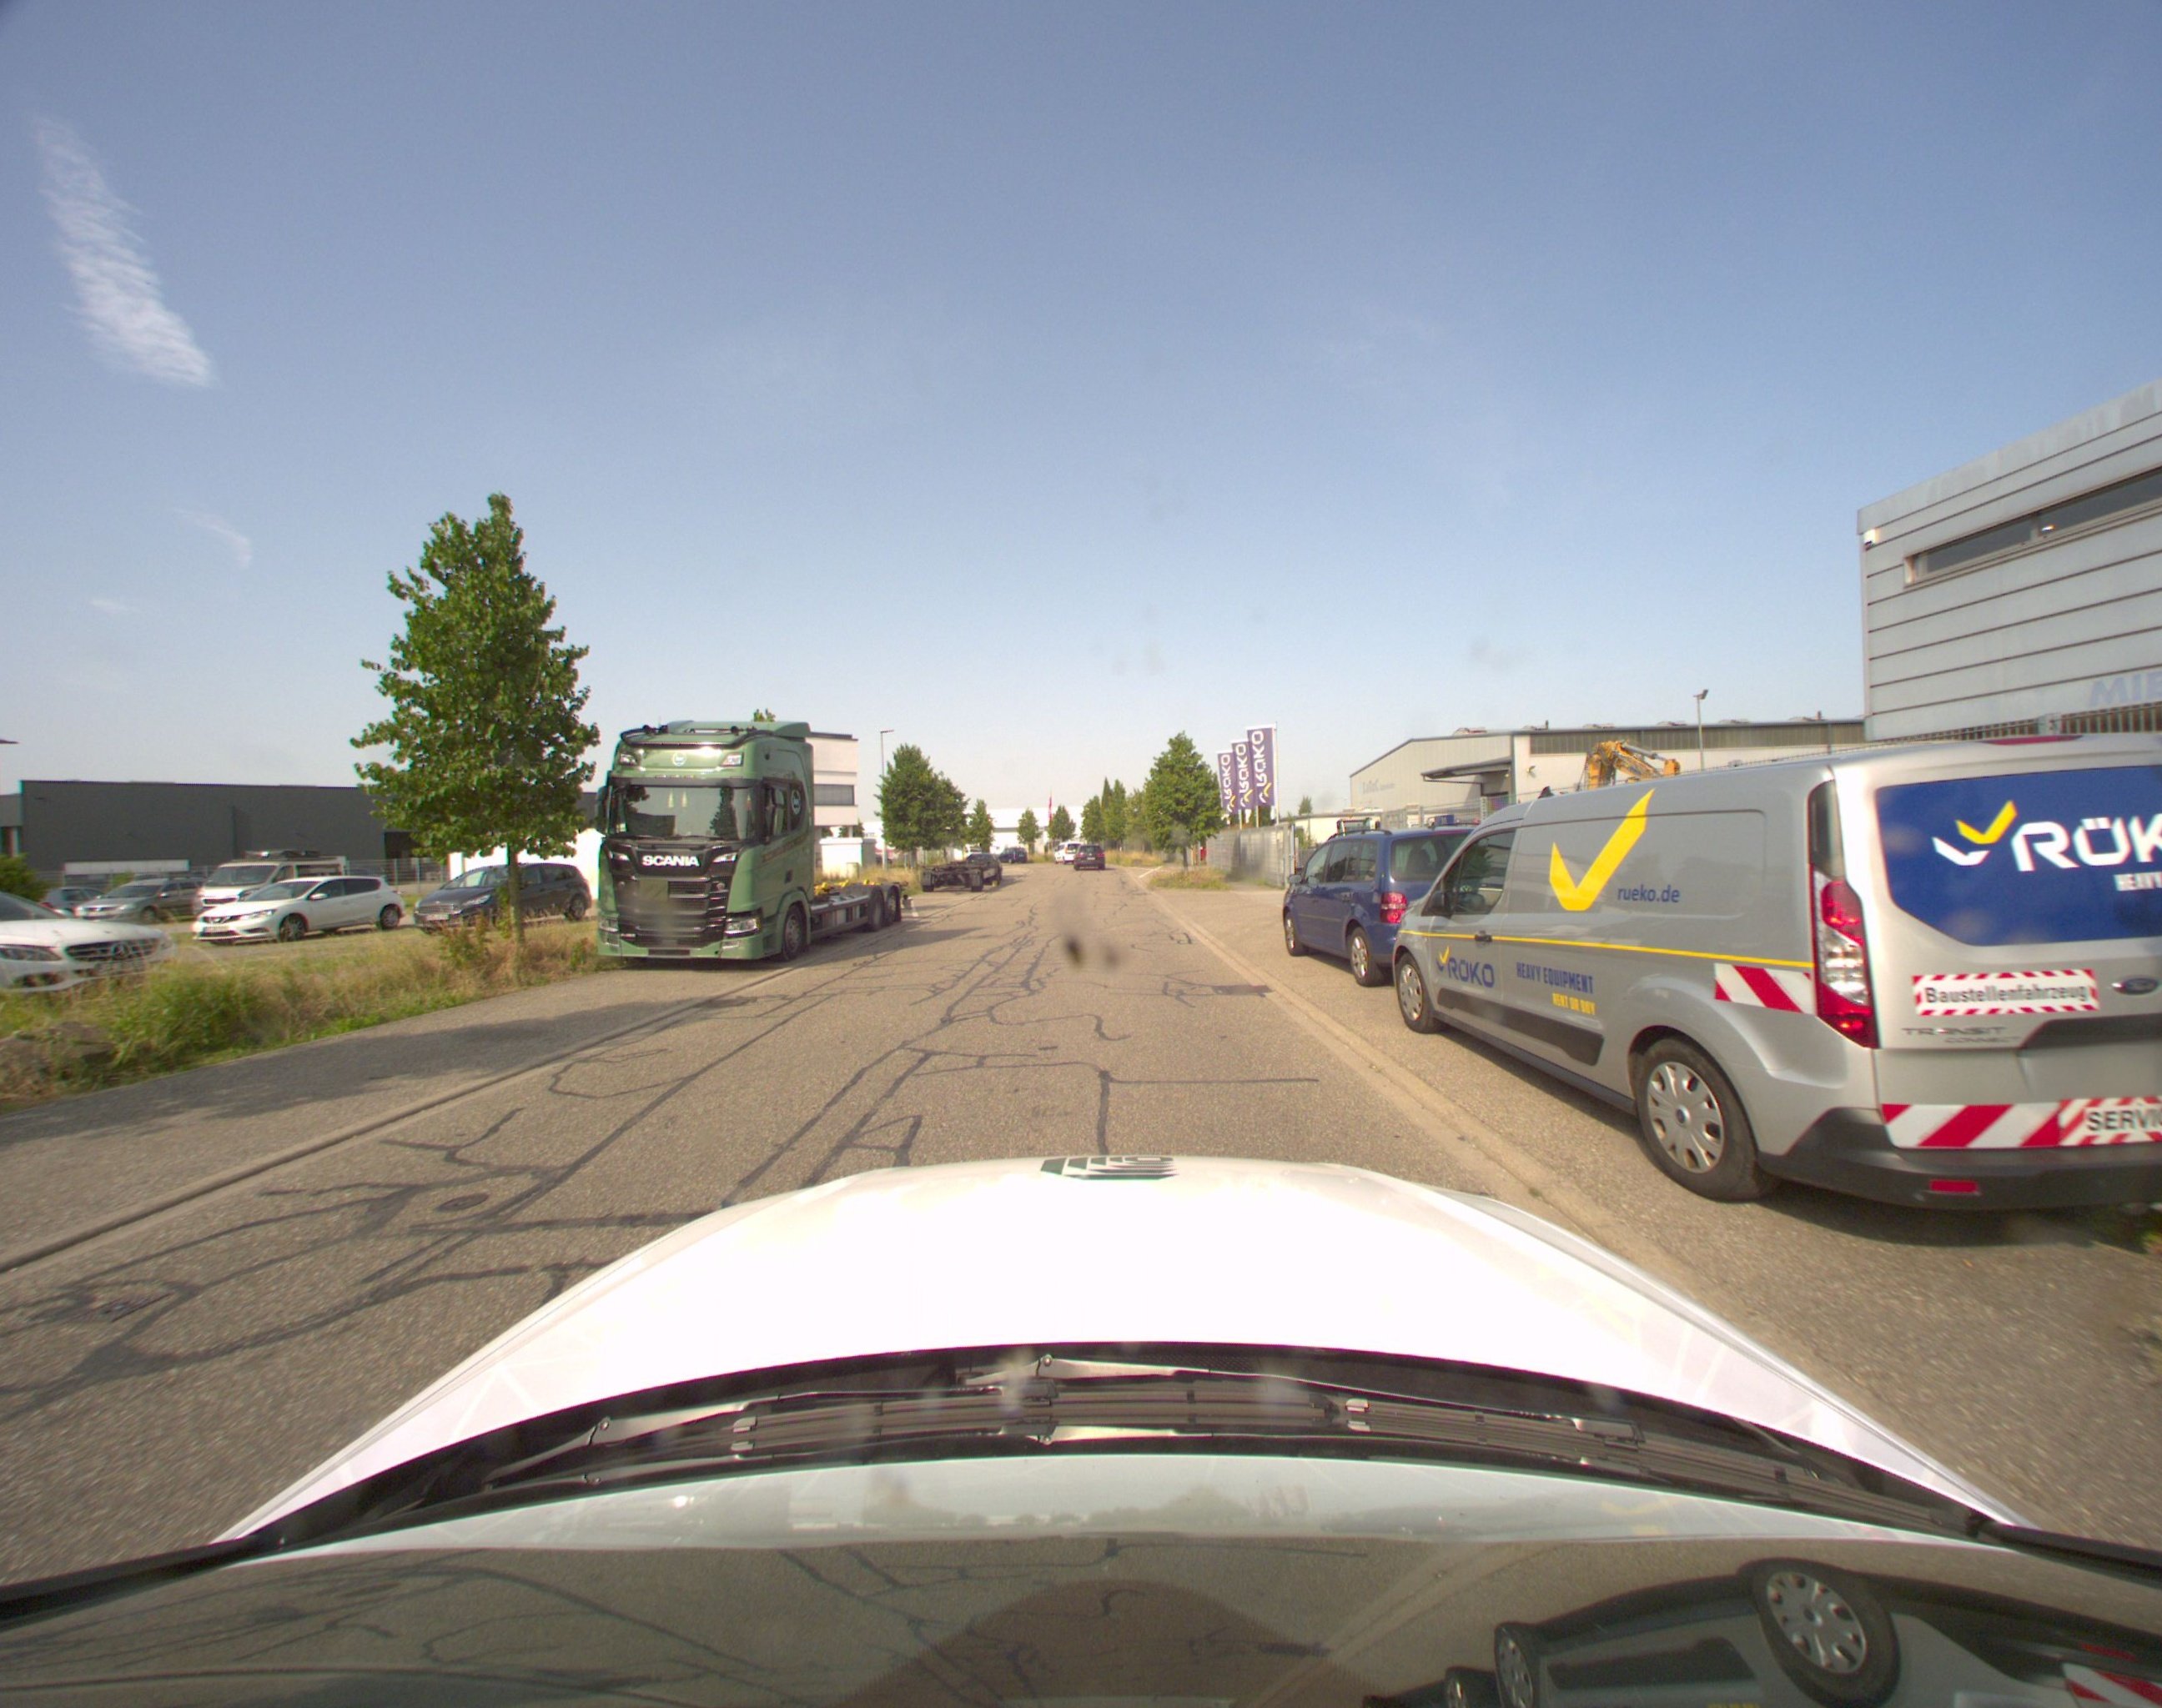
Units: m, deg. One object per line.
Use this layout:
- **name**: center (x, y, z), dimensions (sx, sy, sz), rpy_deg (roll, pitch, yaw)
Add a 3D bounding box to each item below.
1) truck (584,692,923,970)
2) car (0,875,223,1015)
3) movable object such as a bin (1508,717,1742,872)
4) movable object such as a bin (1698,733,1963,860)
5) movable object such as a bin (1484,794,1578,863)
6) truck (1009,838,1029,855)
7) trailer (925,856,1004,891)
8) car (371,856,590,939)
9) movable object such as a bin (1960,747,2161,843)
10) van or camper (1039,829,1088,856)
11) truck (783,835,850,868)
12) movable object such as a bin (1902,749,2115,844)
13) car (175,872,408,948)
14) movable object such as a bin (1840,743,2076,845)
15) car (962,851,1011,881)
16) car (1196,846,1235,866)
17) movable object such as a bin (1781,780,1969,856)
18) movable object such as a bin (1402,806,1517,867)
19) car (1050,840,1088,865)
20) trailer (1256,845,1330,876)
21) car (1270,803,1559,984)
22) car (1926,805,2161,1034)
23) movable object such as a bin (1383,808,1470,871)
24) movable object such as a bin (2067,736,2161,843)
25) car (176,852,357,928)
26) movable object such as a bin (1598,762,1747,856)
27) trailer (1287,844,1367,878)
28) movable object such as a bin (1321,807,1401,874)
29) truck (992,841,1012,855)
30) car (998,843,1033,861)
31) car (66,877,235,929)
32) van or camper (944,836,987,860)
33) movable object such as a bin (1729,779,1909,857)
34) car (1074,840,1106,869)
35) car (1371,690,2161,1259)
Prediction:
- **truck**: center (-5.564, -0.328, 16.336), dimensions (2.445, 3.881, 9.808), rpy_deg (0, 0, 2)
- **car**: center (-13.798, 1.075, 9.910), dimensions (4.706, 1.431, 2.002), rpy_deg (-2, 1, 3)
- **movable object such as a bin**: center (19.303, -1.967, 29.715), dimensions (3.306, 4.806, 7.672), rpy_deg (-2, 1, 0)
- **movable object such as a bin**: center (26.656, -1.898, 29.603), dimensions (2.909, 3.928, 7.206), rpy_deg (-3, 1, 0)
- **movable object such as a bin**: center (21.321, -1.177, 38.824), dimensions (1.985, 3.031, 4.494), rpy_deg (-2, 1, 2)
- **truck**: center (-10.839, -1.397, 142.559), dimensions (2.441, 2.826, 8.006), rpy_deg (-2, 1, 2)
- **trailer**: center (-4.991, 0.789, 36.052), dimensions (2.121, 1.232, 7.162), rpy_deg (0, 1, 2)
- **car**: center (-14.838, 0.981, 20.561), dimensions (1.987, 1.686, 4.698), rpy_deg (-3, 1, 0)
- **movable object such as a bin**: center (45.071, -2.539, 37.445), dimensions (2.445, 3.929, 6.137), rpy_deg (-3, 0, -2)
- **van or camper**: center (-2.078, -1.248, 92.685), dimensions (2.364, 2.847, 7.271), rpy_deg (-2, 0, -30)
- **truck**: center (-33.407, -0.242, 102.344), dimensions (2.650, 3.929, 12.760), rpy_deg (-2, 0, -43)
- **movable object such as a bin**: center (41.744, -2.448, 36.991), dimensions (2.445, 3.780, 6.137), rpy_deg (-3, 0, -2)
- **car**: center (-19.689, 1.317, 20.615), dimensions (1.700, 1.516, 4.213), rpy_deg (-3, 1, 0)
- **movable object such as a bin**: center (38.472, -2.451, 36.194), dimensions (2.460, 3.929, 7.196), rpy_deg (-3, 0, -2)
- **car**: center (-5.046, 0.596, 44.089), dimensions (1.986, 1.466, 4.434), rpy_deg (0, 1, 2)
- **car**: center (9.947, 0.090, 60.442), dimensions (1.876, 1.357, 4.769), rpy_deg (-2, 1, -2)
- **movable object such as a bin**: center (32.137, -1.395, 33.289), dimensions (2.048, 2.768, 5.689), rpy_deg (-3, 1, 0)
- **movable object such as a bin**: center (17.376, -0.781, 37.769), dimensions (2.911, 2.491, 5.341), rpy_deg (-2, 1, 2)
- **car**: center (-1.041, -0.119, 67.804), dimensions (1.998, 1.899, 4.442), rpy_deg (-2, 1, -17)
- **trailer**: center (9.772, 0.252, 37.948), dimensions (2.119, 1.243, 4.795), rpy_deg (-2, 1, 0)
- **car**: center (3.760, 0.392, 10.094), dimensions (1.820, 1.720, 4.248), rpy_deg (-2, 0, 0)
- **car**: center (8.439, 0.372, 5.430), dimensions (3.979, 1.371, 1.788), rpy_deg (0, 1, -4)
- **movable object such as a bin**: center (14.679, -0.620, 34.947), dimensions (1.983, 2.458, 4.770), rpy_deg (-2, 1, 5)
- **movable object such as a bin**: center (41.759, -2.486, 30.265), dimensions (2.711, 3.929, 6.016), rpy_deg (-3, 0, -3)
- **car**: center (-30.793, 1.272, 31.120), dimensions (2.051, 2.547, 5.441), rpy_deg (-2, 0, -10)
- **movable object such as a bin**: center (26.805, -1.938, 37.280), dimensions (2.674, 3.873, 5.721), rpy_deg (-2, 1, 2)
- **trailer**: center (9.950, 0.245, 33.241), dimensions (1.938, 1.243, 4.293), rpy_deg (-2, 1, 0)
- **movable object such as a bin**: center (12.554, -0.610, 36.851), dimensions (1.880, 2.752, 5.162), rpy_deg (-2, 1, 2)
- **truck**: center (-13.813, -1.061, 142.383), dimensions (2.441, 2.265, 8.006), rpy_deg (-2, 1, 2)
- **car**: center (-6.691, -0.245, 82.799), dimensions (2.007, 1.804, 3.961), rpy_deg (-1, 1, -31)
- **car**: center (-33.852, 1.712, 29.832), dimensions (1.841, 1.613, 4.137), rpy_deg (-2, 0, -10)
- **van or camper**: center (-14.933, -0.699, 105.094), dimensions (2.349, 2.943, 6.893), rpy_deg (-2, 1, -37)
- **movable object such as a bin**: center (29.552, -1.383, 32.962), dimensions (2.048, 2.768, 5.689), rpy_deg (-3, 1, 0)
- **car**: center (0.634, 0.029, 53.139), dimensions (1.986, 1.804, 4.001), rpy_deg (0, 1, 1)
- **car**: center (3.492, 0.375, 4.891), dimensions (1.986, 1.789, 4.602), rpy_deg (-2, 0, 2)
